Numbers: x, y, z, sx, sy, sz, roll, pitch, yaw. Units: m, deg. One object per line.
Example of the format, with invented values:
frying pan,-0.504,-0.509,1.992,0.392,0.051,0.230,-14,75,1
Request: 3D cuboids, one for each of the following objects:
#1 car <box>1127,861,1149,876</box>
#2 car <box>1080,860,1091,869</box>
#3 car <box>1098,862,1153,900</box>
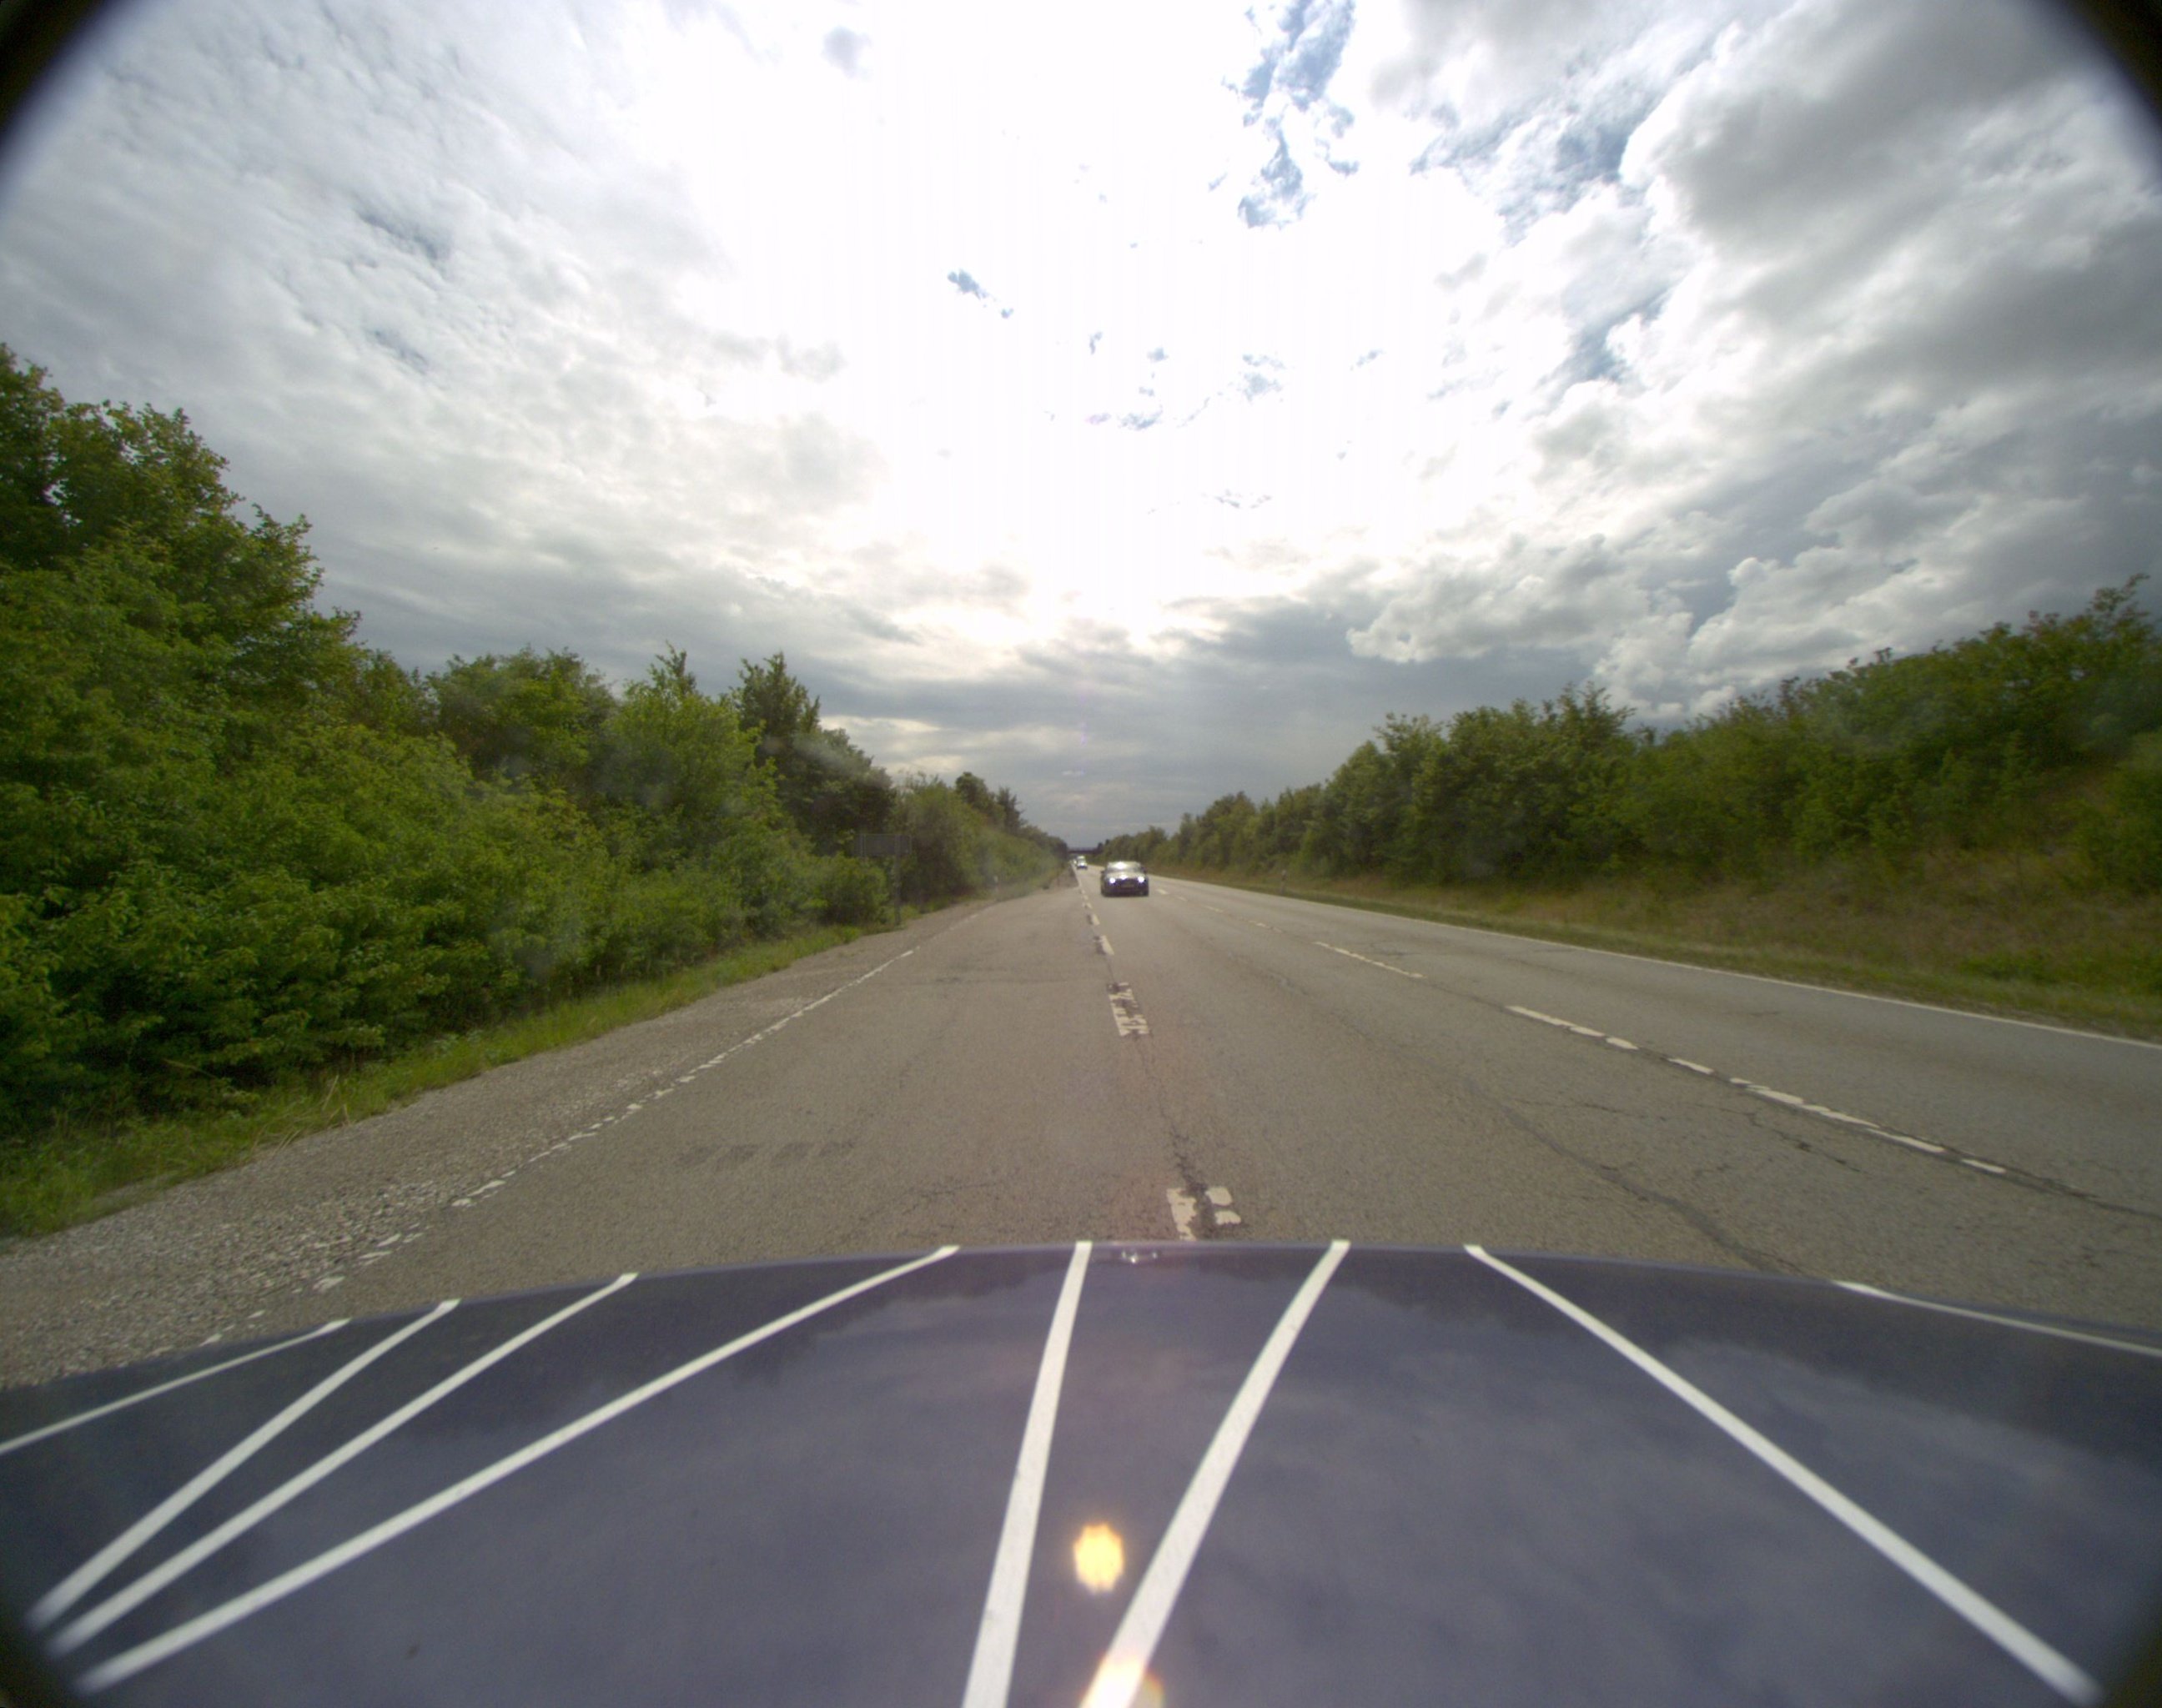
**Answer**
car,5.410,1.391,72.706,1.705,1.322,3.999,-1,0,-1
car,0.876,1.881,138.397,1.870,1.597,4.000,-1,0,-1
car,1.880,1.138,33.474,1.999,1.436,4.640,-2,0,-1
